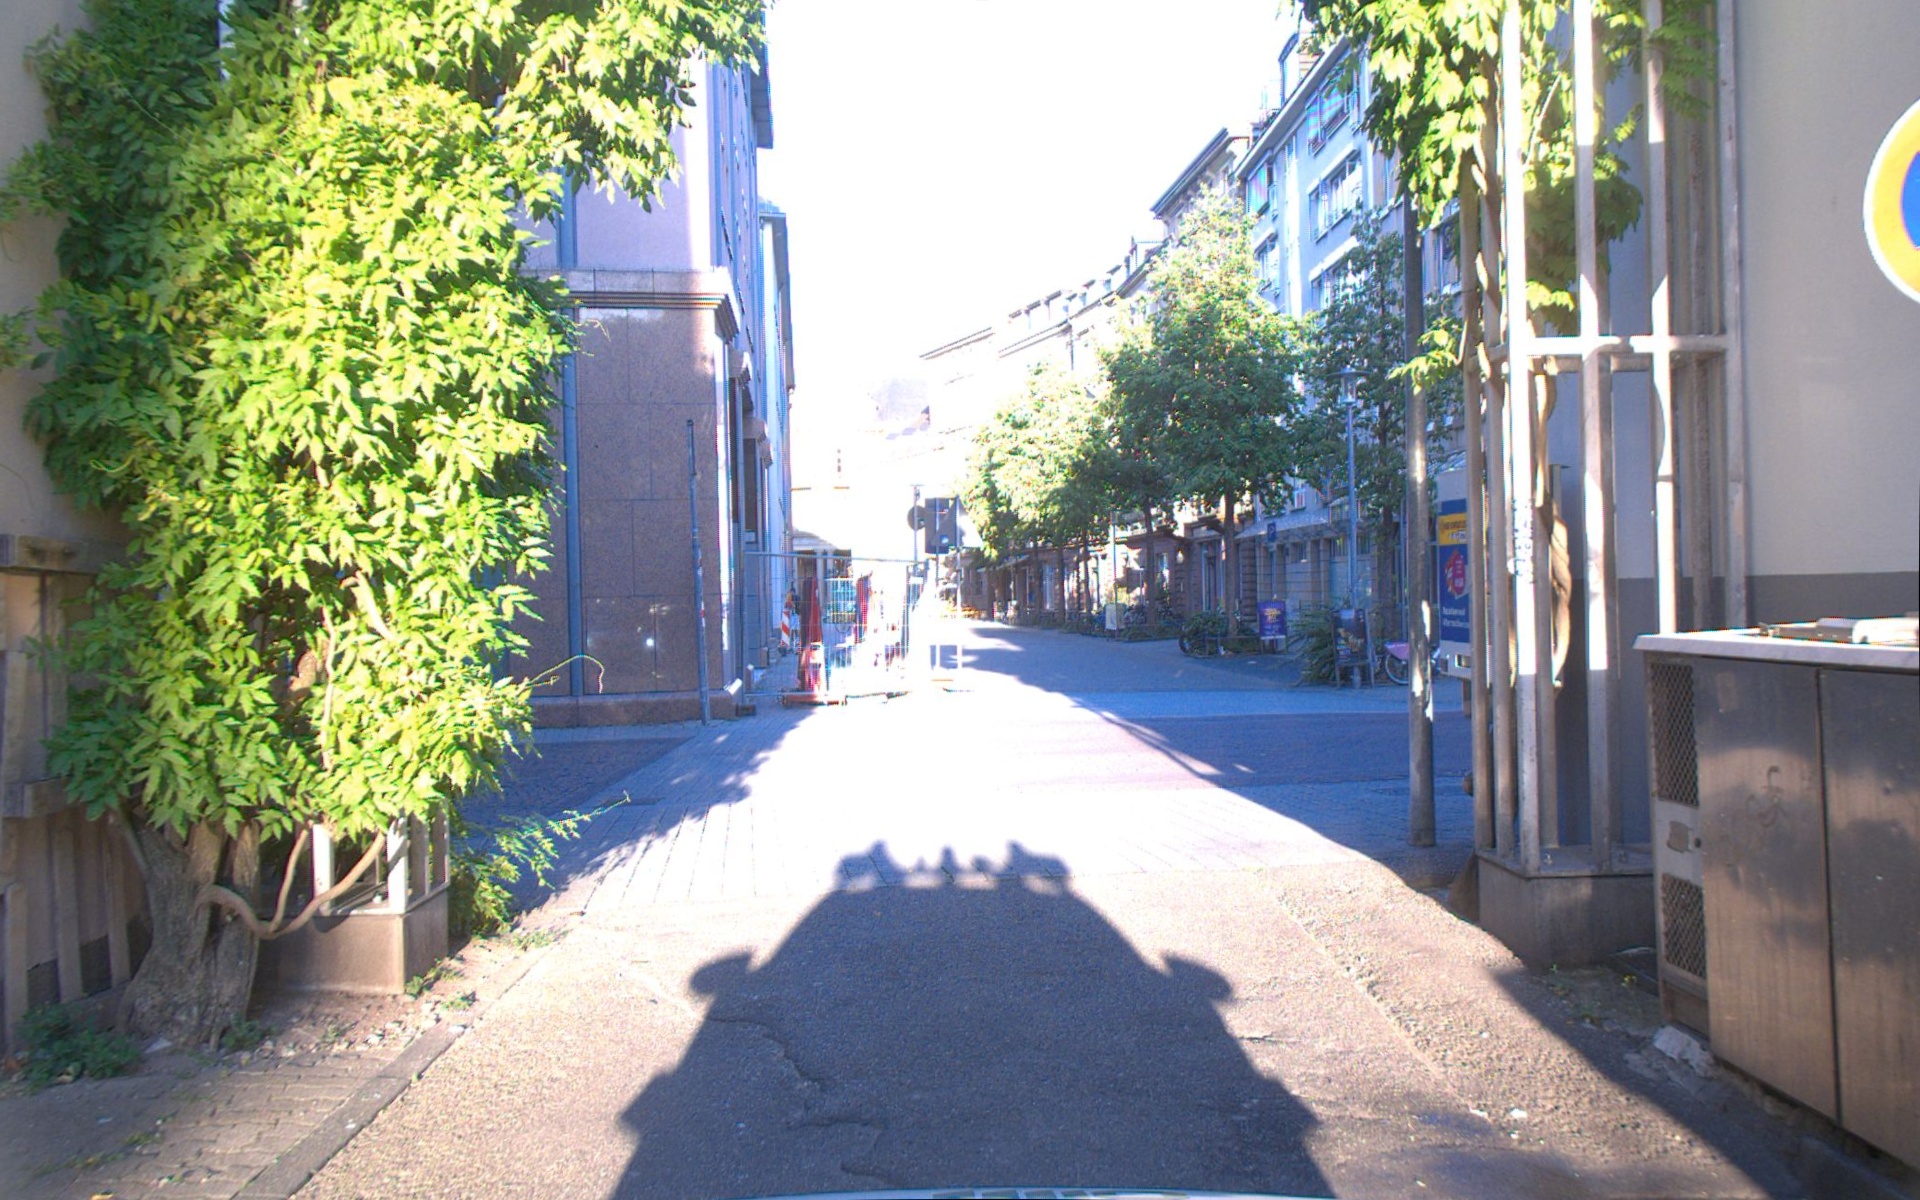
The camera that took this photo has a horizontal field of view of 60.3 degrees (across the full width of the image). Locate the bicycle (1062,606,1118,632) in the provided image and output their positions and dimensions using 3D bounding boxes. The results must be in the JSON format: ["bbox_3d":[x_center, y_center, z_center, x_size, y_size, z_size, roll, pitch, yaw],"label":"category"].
[{"bbox_3d":[5.204,0.761,66.225,2.114,0.942,0.589,-2,-1,-10],"label":"bicycle"}]

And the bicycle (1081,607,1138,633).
[{"bbox_3d":[5.815,0.779,64.238,2.114,0.942,0.589,-2,-1,-10],"label":"bicycle"}]

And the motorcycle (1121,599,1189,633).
[{"bbox_3d":[6.965,0.580,59.031,2.440,1.114,0.586,-2,-1,-26],"label":"motorcycle"}]

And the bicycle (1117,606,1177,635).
[{"bbox_3d":[6.797,0.741,60.155,2.120,0.942,0.587,-2,-1,-18],"label":"bicycle"}]

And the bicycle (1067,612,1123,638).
[{"bbox_3d":[5.322,1.003,65.345,2.114,0.942,0.589,-2,-1,-10],"label":"bicycle"}]

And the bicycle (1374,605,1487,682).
[{"bbox_3d":[7.462,0.695,26.272,1.621,1.069,0.663,-5,0,15],"label":"bicycle"}]

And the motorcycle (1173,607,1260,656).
[{"bbox_3d":[6.597,0.804,42.578,2.111,1.171,0.493,-2,-1,-6],"label":"motorcycle"}]

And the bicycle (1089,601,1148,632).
[{"bbox_3d":[5.941,0.631,61.996,2.107,1.080,0.591,-2,-1,11],"label":"bicycle"}]

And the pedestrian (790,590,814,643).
[{"bbox_3d":[-5.078,0.534,53.056,0.641,1.680,0.634,-2,0,2],"label":"pedestrian"}]

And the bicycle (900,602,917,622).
[{"bbox_3d":[-3.010,0.716,96.065,0.578,1.114,2.153,-2,-1,-11],"label":"bicycle"}]

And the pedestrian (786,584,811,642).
[{"bbox_3d":[-5.123,0.415,52.442,0.641,1.795,0.634,-2,0,2],"label":"pedestrian"}]

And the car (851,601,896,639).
[{"bbox_3d":[-4.115,0.933,78.117,1.807,1.713,3.638,-2,0,-8],"label":"car"}]
